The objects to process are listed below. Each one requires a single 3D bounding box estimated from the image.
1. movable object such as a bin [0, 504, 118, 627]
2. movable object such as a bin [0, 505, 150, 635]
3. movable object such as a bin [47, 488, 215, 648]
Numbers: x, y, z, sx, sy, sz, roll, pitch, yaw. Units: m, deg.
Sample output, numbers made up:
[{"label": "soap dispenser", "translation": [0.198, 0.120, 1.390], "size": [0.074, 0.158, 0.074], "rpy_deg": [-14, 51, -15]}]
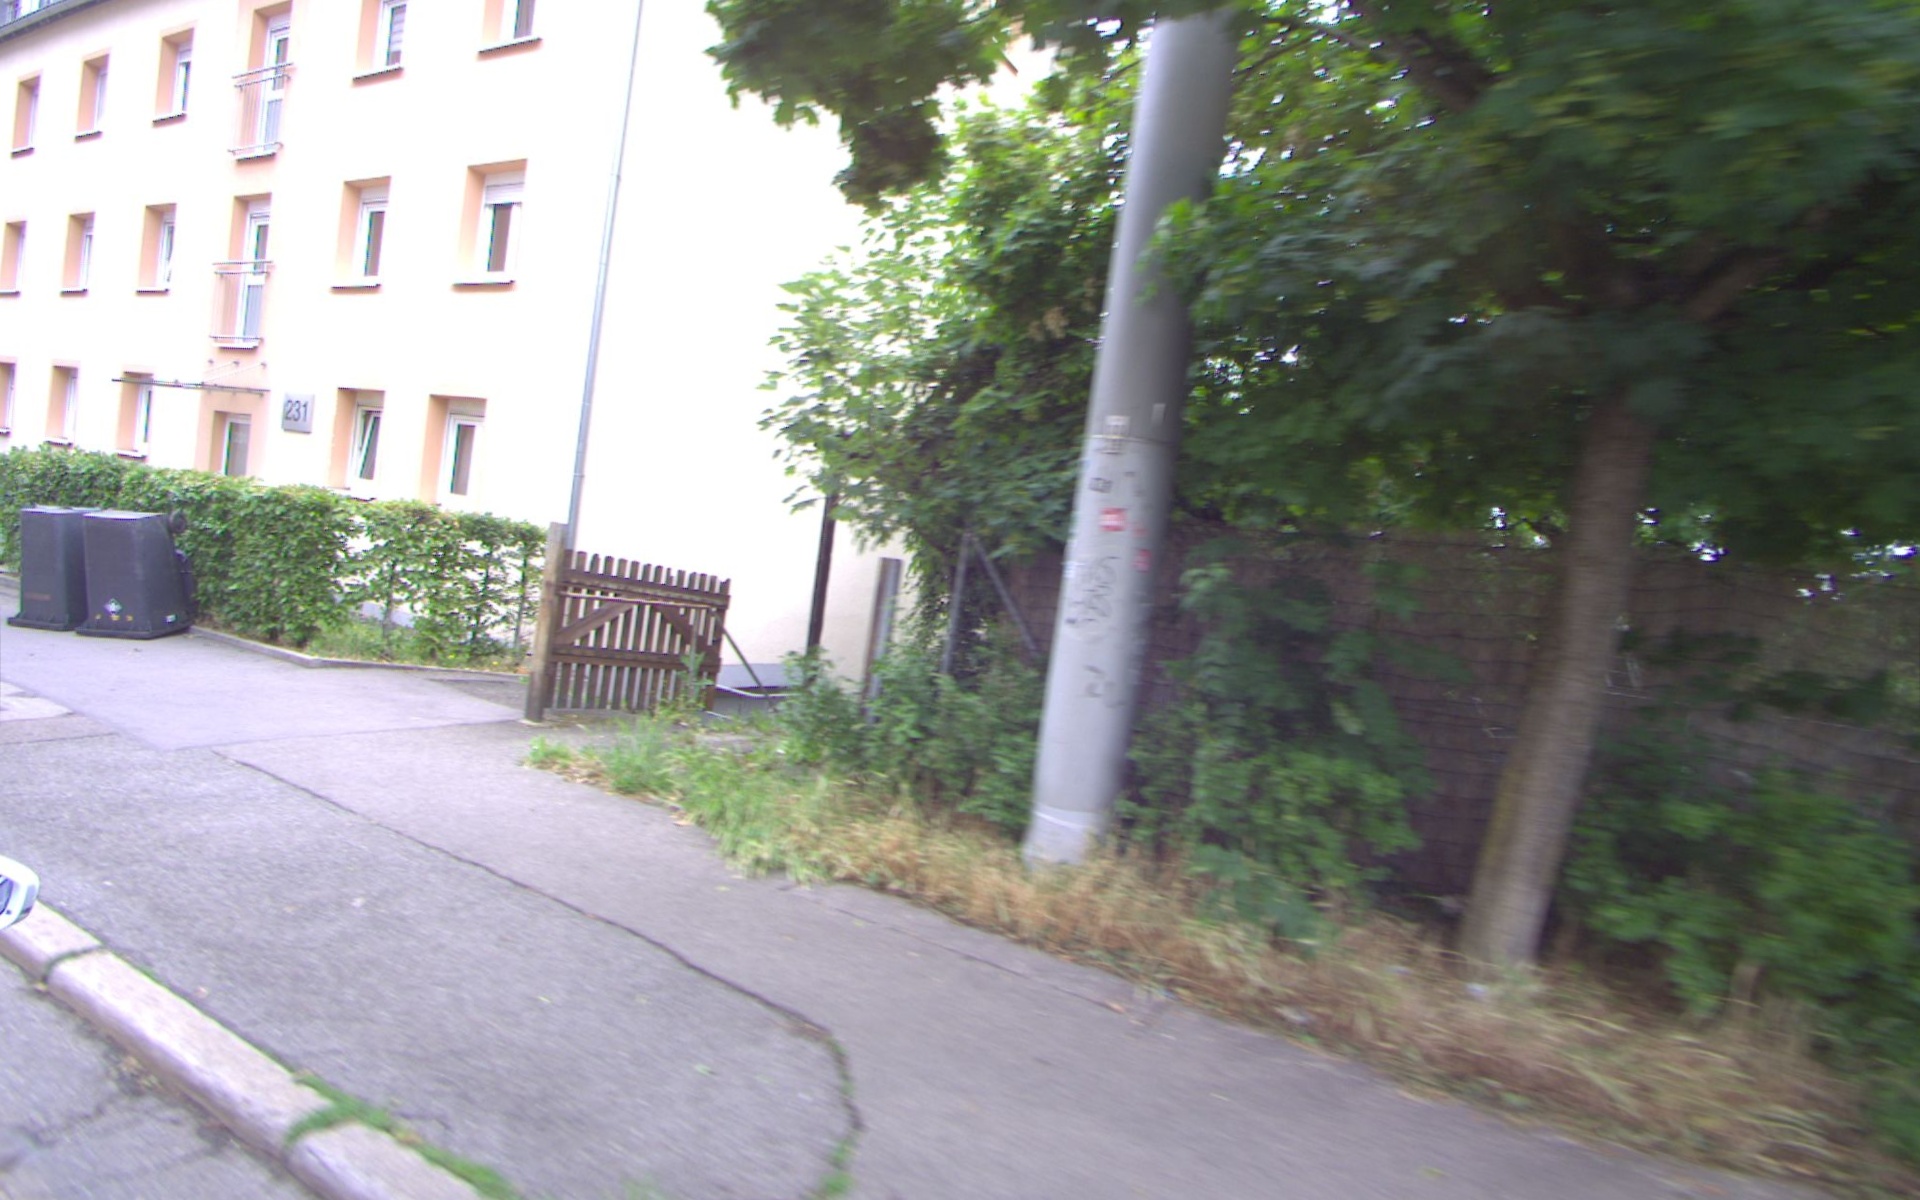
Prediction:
[{"label": "movable object such as a bin", "translation": [-8.446, -0.320, 9.286], "size": [0.776, 1.025, 0.792], "rpy_deg": [7, 2, 33]}, {"label": "movable object such as a bin", "translation": [-7.785, -0.250, 8.795], "size": [0.775, 1.025, 0.793], "rpy_deg": [7, 2, 27]}, {"label": "movable object such as a bin", "translation": [-7.017, -0.255, 8.528], "size": [0.775, 1.234, 0.793], "rpy_deg": [7, 2, 27]}]
